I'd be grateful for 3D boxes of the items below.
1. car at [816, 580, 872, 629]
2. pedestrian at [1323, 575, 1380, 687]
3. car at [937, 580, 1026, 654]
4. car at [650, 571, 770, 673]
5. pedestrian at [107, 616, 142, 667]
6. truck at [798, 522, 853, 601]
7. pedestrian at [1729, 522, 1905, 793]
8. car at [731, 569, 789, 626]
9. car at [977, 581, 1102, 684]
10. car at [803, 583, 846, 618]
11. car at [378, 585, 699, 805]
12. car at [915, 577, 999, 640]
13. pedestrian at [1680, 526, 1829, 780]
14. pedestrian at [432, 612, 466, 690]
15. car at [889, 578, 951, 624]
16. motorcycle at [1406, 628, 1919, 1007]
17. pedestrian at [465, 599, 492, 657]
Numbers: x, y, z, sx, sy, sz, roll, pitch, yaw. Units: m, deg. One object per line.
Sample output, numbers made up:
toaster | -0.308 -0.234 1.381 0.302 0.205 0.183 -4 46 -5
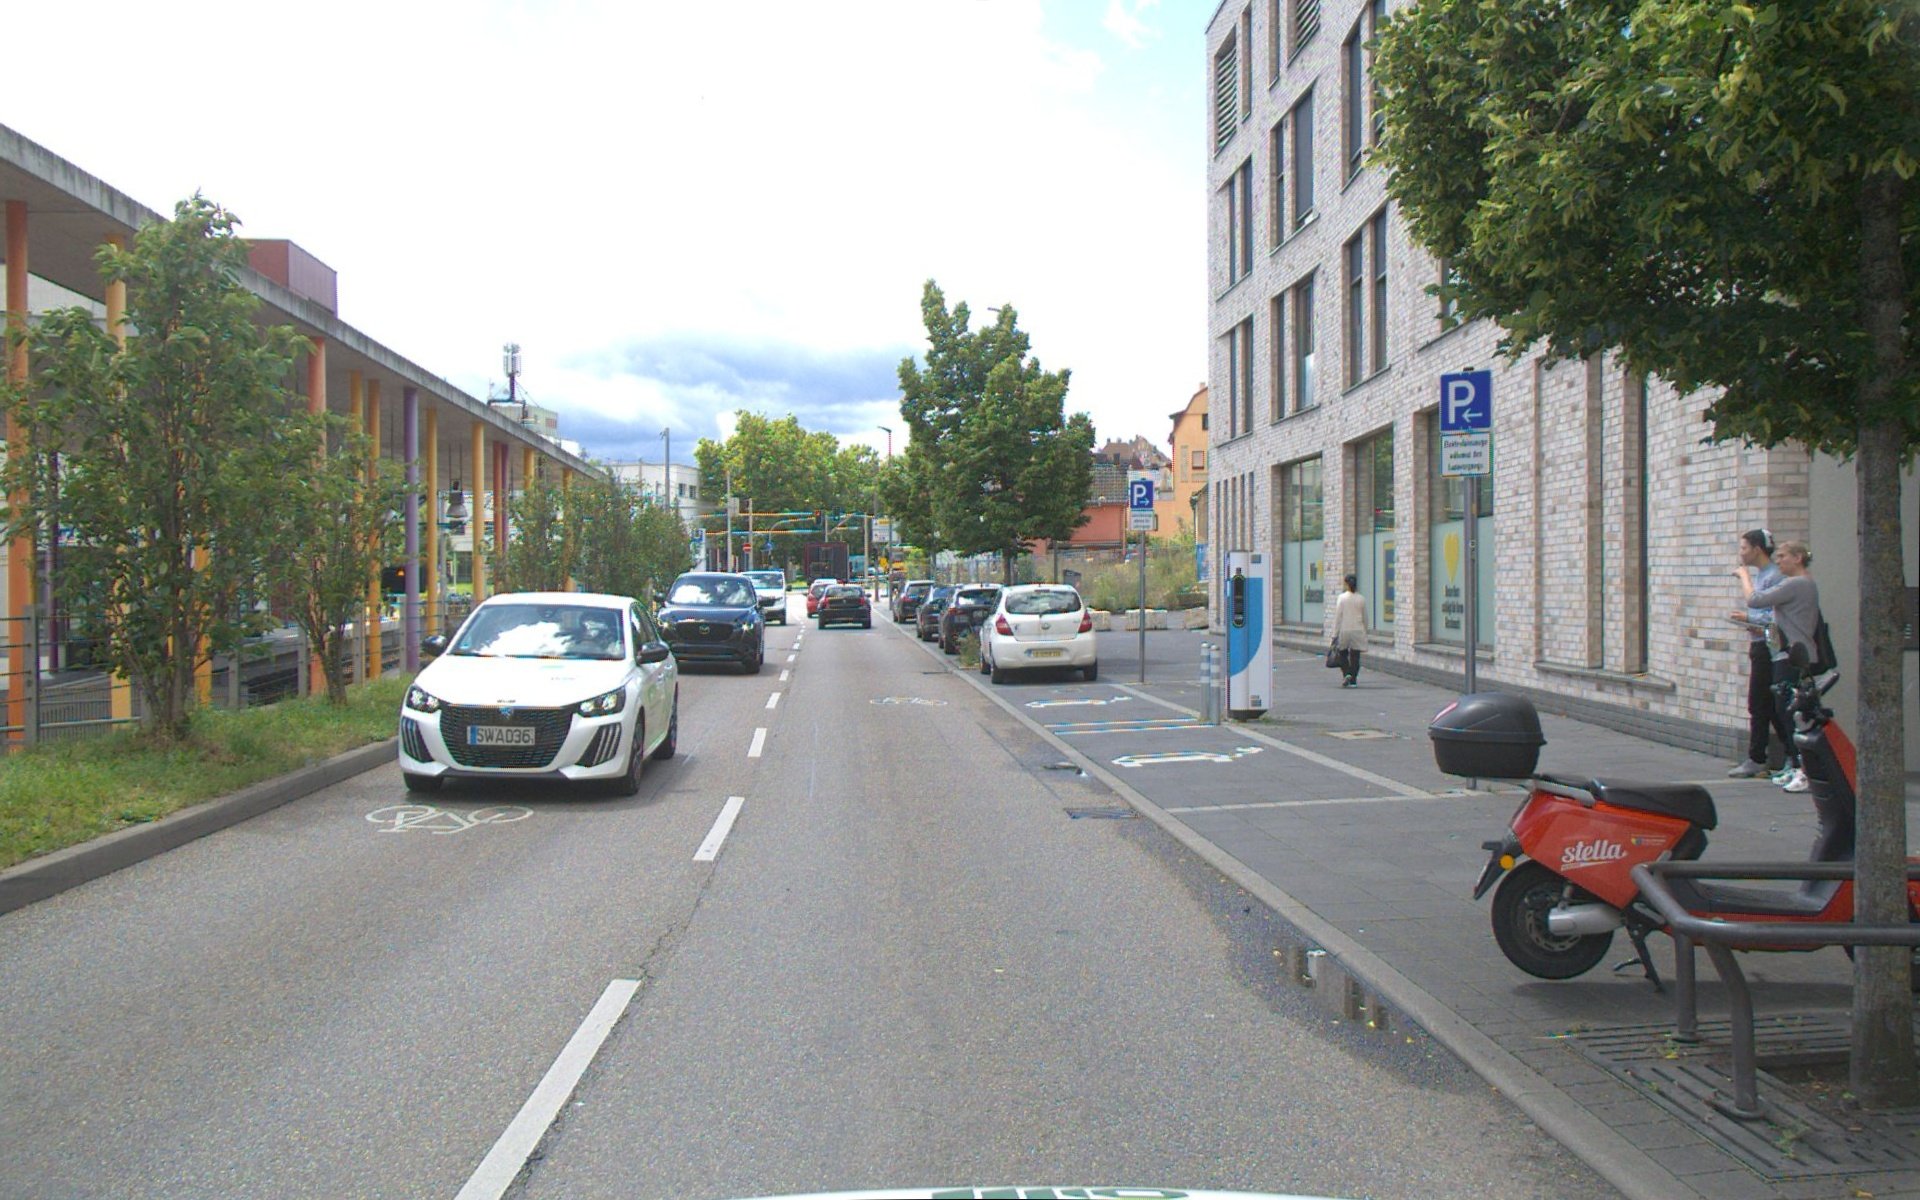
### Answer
car | -3.787 0.114 53.659 1.693 1.482 3.805 -1 1 -5
pedestrian | 5.399 0.417 22.843 0.594 1.498 0.791 -2 1 4
car | 0.411 0.331 36.424 1.659 1.486 4.144 -2 1 -3
car | -4.333 0.348 29.249 1.882 1.633 4.620 1 0 -6
pedestrian | -23.345 1.157 46.194 0.638 1.403 0.701 1 1 -4
truck | -8.360 -2.308 103.639 3.139 4.615 9.022 1 -1 -3
pedestrian | 5.908 0.380 11.428 0.721 1.797 0.754 -1 -1 -18
car | -7.309 -0.109 60.230 1.966 1.950 5.055 1 0 -8
car | 1.228 0.477 27.121 1.659 1.509 3.796 -2 1 -3
car | -5.826 -0.002 70.901 1.679 1.417 3.803 -1 1 -7
car | -3.200 0.645 13.327 1.775 1.494 3.905 1 0 -4
car | -0.137 0.190 42.979 1.828 1.476 4.639 -2 1 -4
pedestrian | 5.812 0.379 12.124 0.722 1.797 0.622 -1 -1 -11
pedestrian | -12.360 1.242 40.024 0.575 1.862 0.709 1 -2 -3
car | -1.423 0.008 57.477 1.748 1.477 4.470 -2 1 -6
motorcycle | 2.749 0.790 6.204 2.006 1.288 0.673 -3 -1 13
pedestrian | -14.066 0.812 48.334 0.617 1.642 0.635 1 1 -4
